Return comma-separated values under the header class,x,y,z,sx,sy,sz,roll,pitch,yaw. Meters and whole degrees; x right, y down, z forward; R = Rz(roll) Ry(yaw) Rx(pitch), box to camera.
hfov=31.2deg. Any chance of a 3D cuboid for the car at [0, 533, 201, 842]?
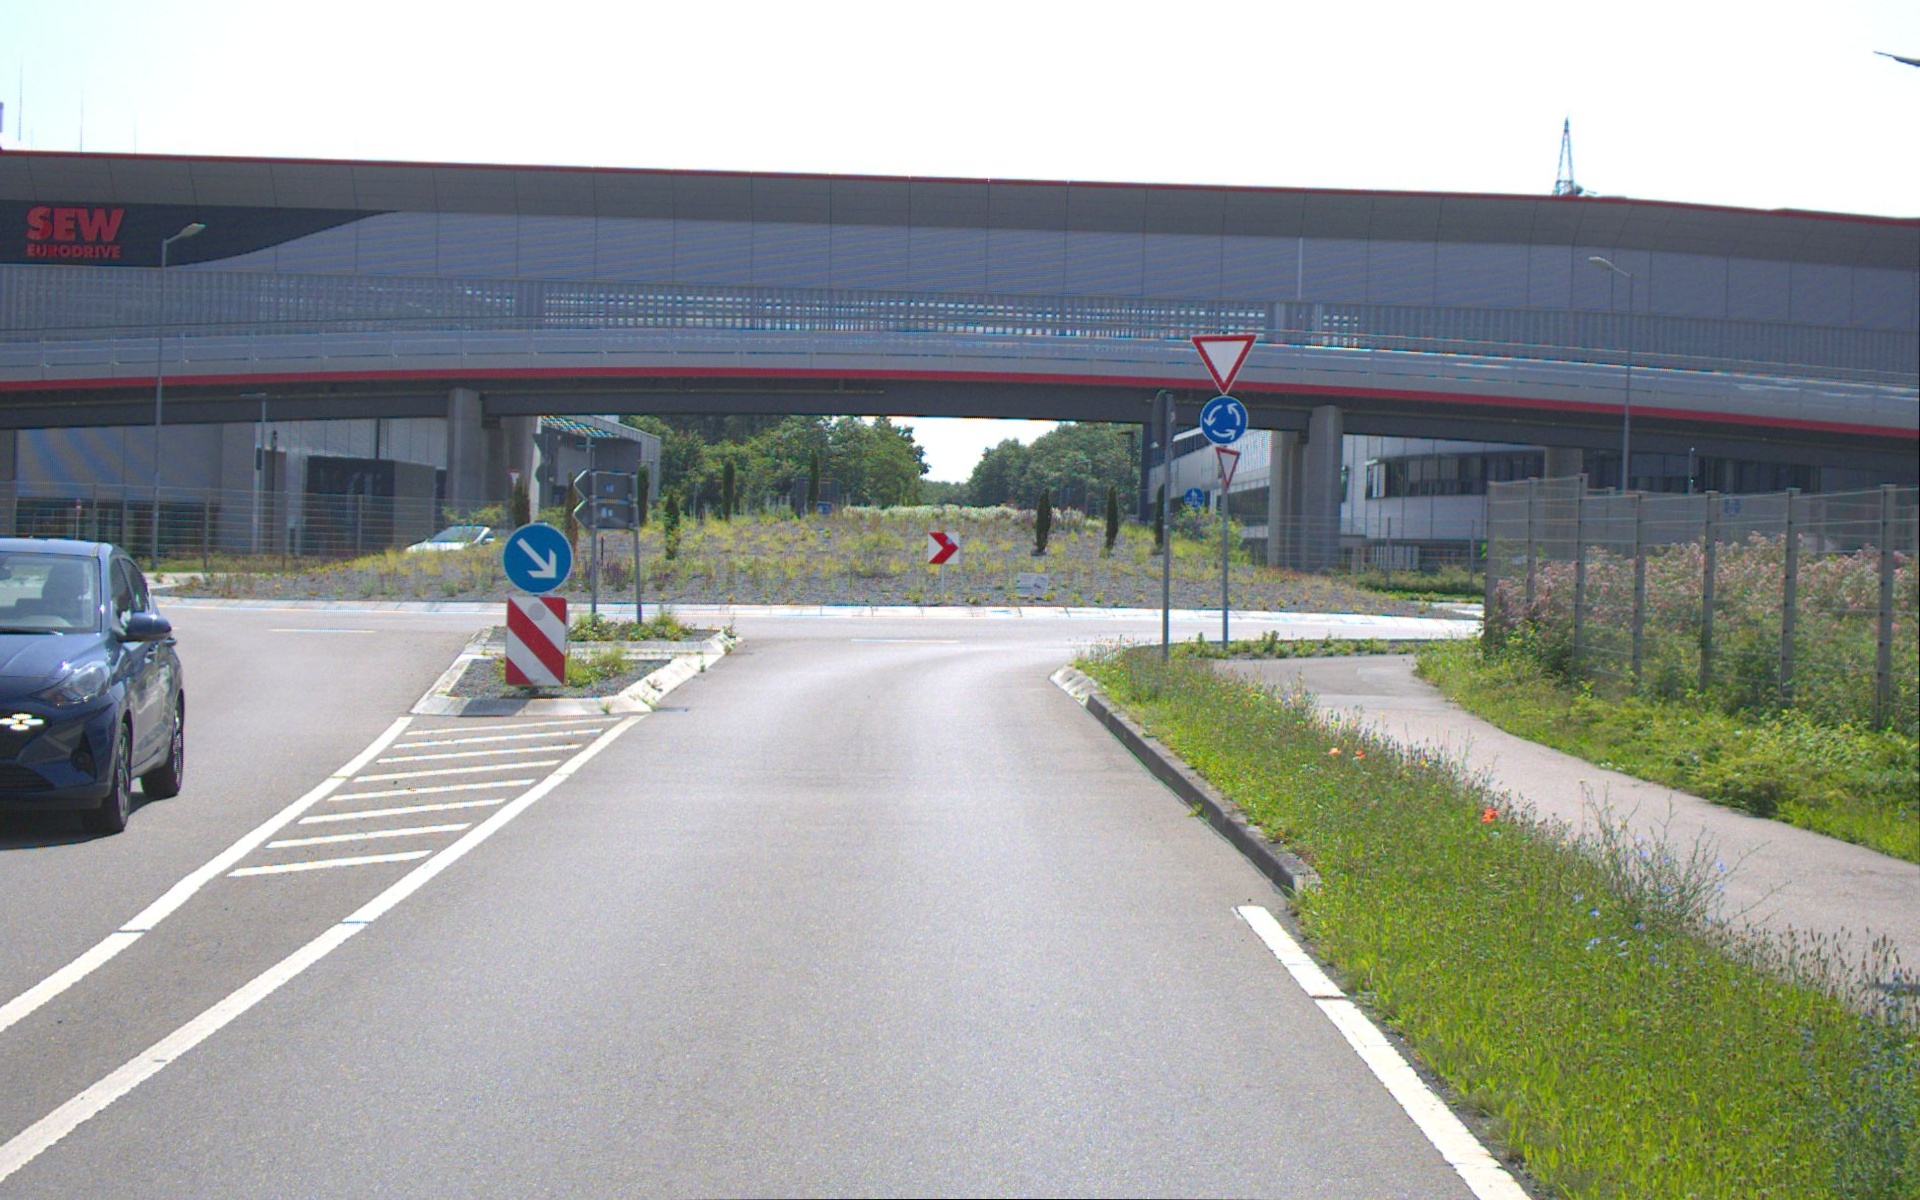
class,x,y,z,sx,sy,sz,roll,pitch,yaw
car,-5.143,0.393,18.396,1.702,1.477,4.001,1,1,-7
